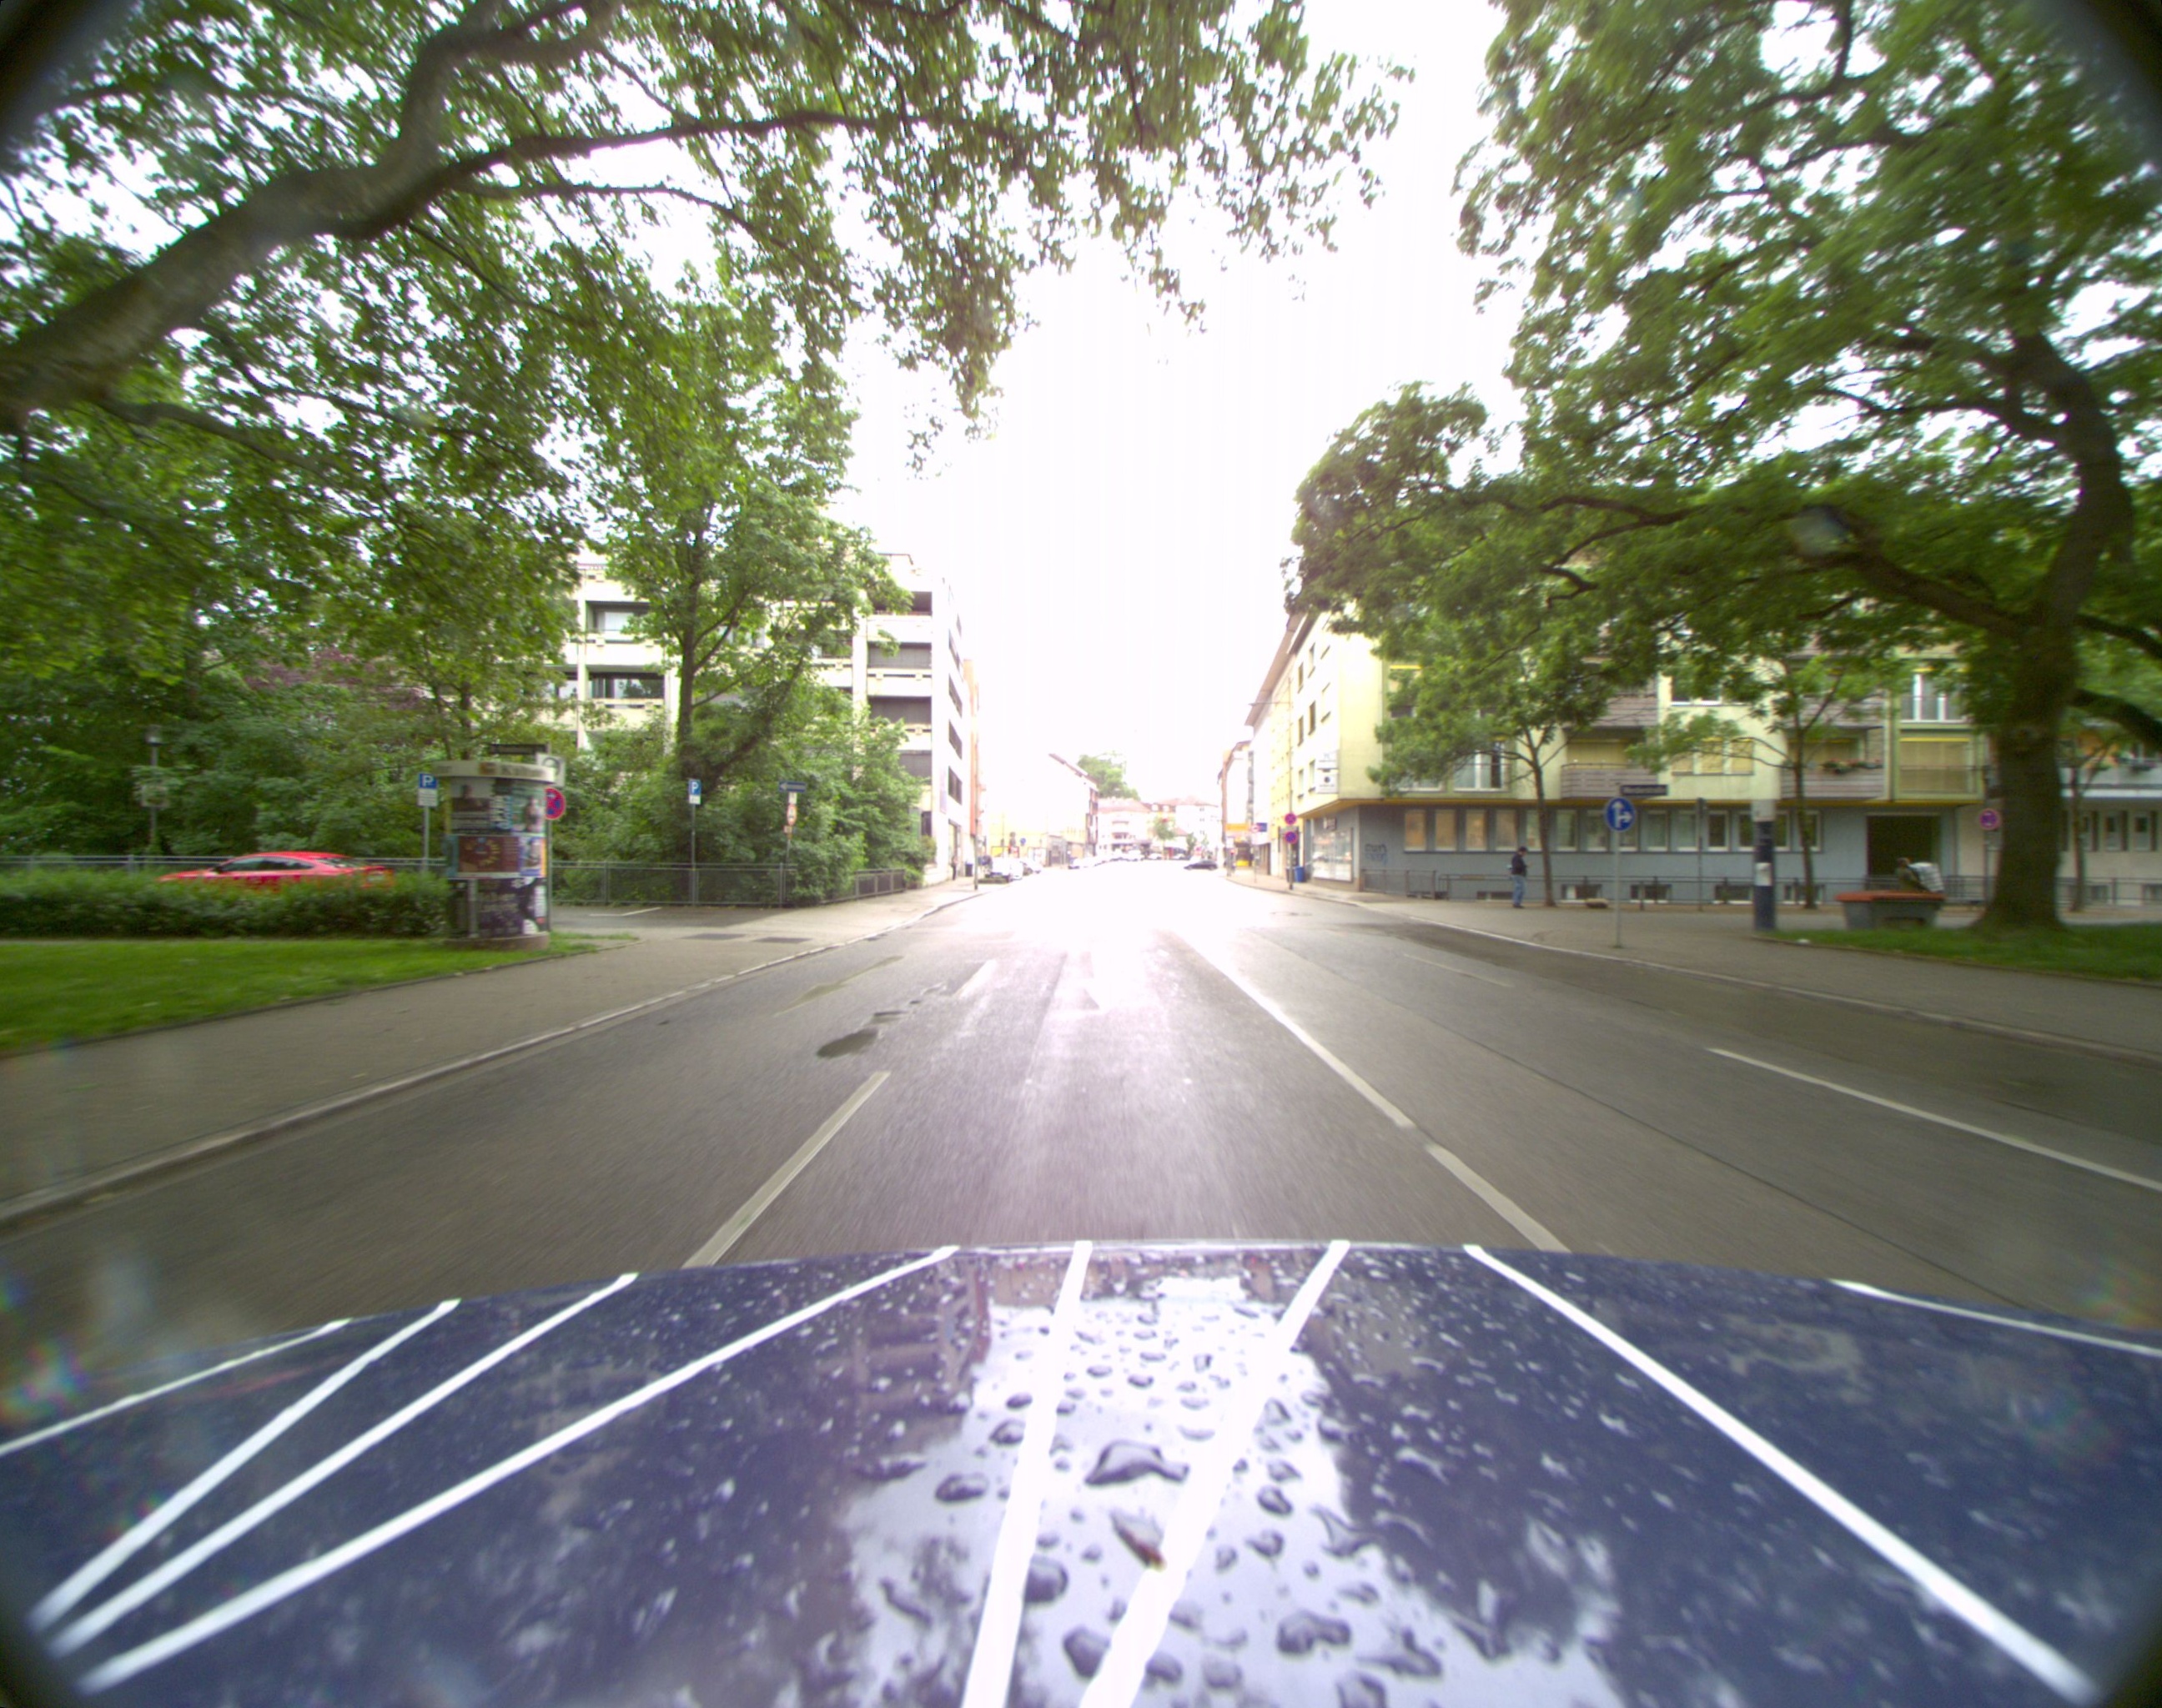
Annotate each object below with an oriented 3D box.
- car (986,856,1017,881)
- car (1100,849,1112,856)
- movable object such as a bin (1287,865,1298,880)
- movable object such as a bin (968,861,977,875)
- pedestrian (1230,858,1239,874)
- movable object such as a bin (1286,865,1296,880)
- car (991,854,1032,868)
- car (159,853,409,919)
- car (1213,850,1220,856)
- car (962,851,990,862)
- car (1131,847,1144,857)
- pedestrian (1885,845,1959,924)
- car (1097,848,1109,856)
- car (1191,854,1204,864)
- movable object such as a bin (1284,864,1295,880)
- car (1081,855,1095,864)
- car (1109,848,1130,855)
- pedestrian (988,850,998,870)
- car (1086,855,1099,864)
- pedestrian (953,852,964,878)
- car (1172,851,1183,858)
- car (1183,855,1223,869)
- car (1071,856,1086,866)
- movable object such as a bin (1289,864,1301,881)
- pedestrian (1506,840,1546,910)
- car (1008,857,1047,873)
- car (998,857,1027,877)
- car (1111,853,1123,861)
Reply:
[{"bbox_3d":[-5.240,0.959,50.632,1.706,1.549,3.804,1,0,-1],"label":"car"},{"bbox_3d":[4.661,-0.290,141.176,1.736,1.389,3.744,0,0,10],"label":"car"},{"bbox_3d":[12.916,1.136,46.484,0.529,0.922,0.426,-4,0,8],"label":"movable object such as a bin"},{"bbox_3d":[-8.548,1.069,59.765,0.681,1.097,0.514,0,0,-1],"label":"movable object such as a bin"},{"bbox_3d":[15.725,1.197,77.924,0.785,1.578,0.674,-2,0,21],"label":"pedestrian"},{"bbox_3d":[12.969,1.146,46.959,0.465,0.922,0.428,-4,0,8],"label":"movable object such as a bin"},{"bbox_3d":[-8.324,0.833,90.936,4.687,1.559,1.758,-2,0,2],"label":"car"},{"bbox_3d":[-19.559,0.754,18.819,3.999,1.473,1.875,1,1,-5],"label":"car"},{"bbox_3d":[33.973,-0.202,190.256,1.591,1.518,3.492,0,0,14],"label":"car"},{"bbox_3d":[-16.318,0.418,118.239,3.783,1.701,1.842,0,0,20],"label":"car"},{"bbox_3d":[11.296,-0.389,152.299,2.015,1.754,4.767,1,0,10],"label":"car"},{"bbox_3d":[20.972,0.749,18.975,0.918,1.913,0.820,0,0,6],"label":"pedestrian"},{"bbox_3d":[4.001,-0.373,136.852,1.736,1.389,3.743,0,0,7],"label":"car"},{"bbox_3d":[18.188,0.744,118.358,1.834,1.612,4.003,0,0,10],"label":"car"},{"bbox_3d":[13.081,1.135,47.620,0.517,0.994,0.524,-4,0,8],"label":"movable object such as a bin"},{"bbox_3d":[1.090,0.806,118.584,1.736,1.389,3.744,0,0,8],"label":"car"},{"bbox_3d":[8.563,-0.619,169.387,2.038,1.522,4.894,0,0,-40],"label":"car"},{"bbox_3d":[-9.299,0.607,80.304,0.806,2.140,0.737,0,1,-23],"label":"pedestrian"},{"bbox_3d":[1.959,0.892,125.009,1.736,1.389,3.744,0,0,8],"label":"car"},{"bbox_3d":[-7.947,0.741,49.373,0.599,1.650,0.691,3,0,-6],"label":"pedestrian"},{"bbox_3d":[23.281,0.180,182.991,1.748,1.754,4.059,1,0,18],"label":"car"},{"bbox_3d":[14.895,0.964,92.883,4.560,1.559,1.758,-2,0,4],"label":"car"},{"bbox_3d":[-0.350,0.955,110.412,1.736,1.389,3.744,0,0,8],"label":"car"},{"bbox_3d":[12.778,1.105,45.384,0.529,0.955,0.435,-4,0,8],"label":"movable object such as a bin"},{"bbox_3d":[13.012,0.608,22.224,0.754,2.002,0.780,-1,1,-39],"label":"pedestrian"},{"bbox_3d":[-5.667,1.157,80.807,3.999,1.559,1.757,-2,0,-5],"label":"car"},{"bbox_3d":[-5.117,0.980,57.502,1.835,1.412,4.569,1,0,-1],"label":"car"},{"bbox_3d":[7.294,0.599,153.773,1.670,1.761,4.004,1,0,11],"label":"car"}]
